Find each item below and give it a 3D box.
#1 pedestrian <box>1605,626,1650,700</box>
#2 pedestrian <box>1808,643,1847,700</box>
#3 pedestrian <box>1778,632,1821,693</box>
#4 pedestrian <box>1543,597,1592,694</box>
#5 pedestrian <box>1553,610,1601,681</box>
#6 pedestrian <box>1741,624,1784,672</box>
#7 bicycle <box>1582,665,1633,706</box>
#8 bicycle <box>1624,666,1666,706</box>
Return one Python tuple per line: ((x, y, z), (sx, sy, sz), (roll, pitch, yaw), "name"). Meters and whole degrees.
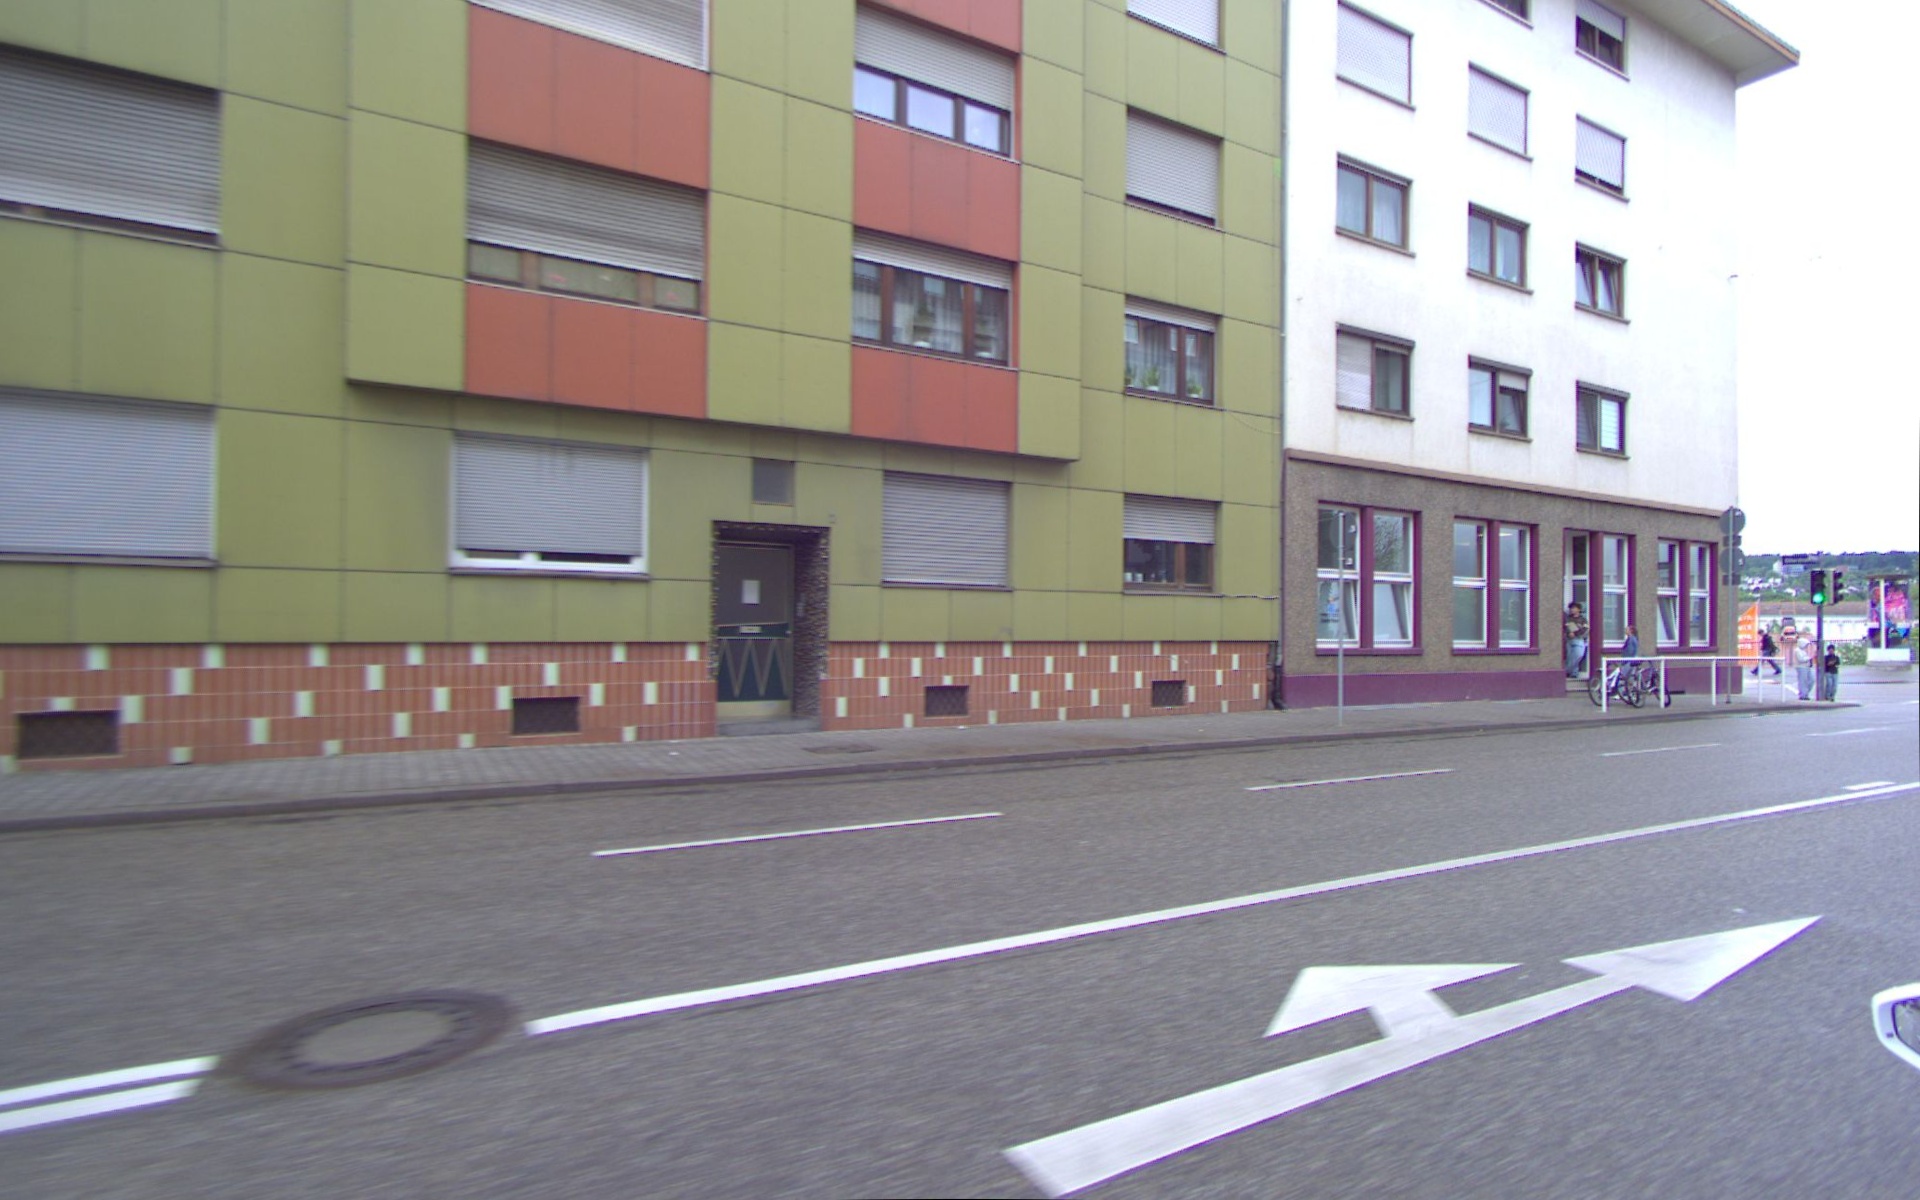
((14.557, 1.359, 21.910), (0.732, 1.574, 0.571), (2, -2, -33), "pedestrian")
((21.579, 1.770, 24.994), (0.641, 1.406, 0.542), (2, -2, -28), "pedestrian")
((20.823, 1.547, 24.921), (0.653, 1.477, 0.639), (2, -2, -31), "pedestrian")
((13.602, 1.010, 22.485), (0.722, 2.127, 0.707), (2, -2, -33), "pedestrian")
((14.009, 1.030, 22.812), (0.582, 1.598, 0.770), (2, -2, -30), "pedestrian")
((30.213, 1.798, 37.829), (1.052, 1.780, 1.062), (0, -2, 26), "pedestrian")
((13.129, 1.722, 20.350), (1.405, 0.793, 0.263), (2, -2, -31), "bicycle")
((13.876, 1.736, 20.335), (1.098, 0.793, 0.263), (2, -2, -31), "bicycle")
